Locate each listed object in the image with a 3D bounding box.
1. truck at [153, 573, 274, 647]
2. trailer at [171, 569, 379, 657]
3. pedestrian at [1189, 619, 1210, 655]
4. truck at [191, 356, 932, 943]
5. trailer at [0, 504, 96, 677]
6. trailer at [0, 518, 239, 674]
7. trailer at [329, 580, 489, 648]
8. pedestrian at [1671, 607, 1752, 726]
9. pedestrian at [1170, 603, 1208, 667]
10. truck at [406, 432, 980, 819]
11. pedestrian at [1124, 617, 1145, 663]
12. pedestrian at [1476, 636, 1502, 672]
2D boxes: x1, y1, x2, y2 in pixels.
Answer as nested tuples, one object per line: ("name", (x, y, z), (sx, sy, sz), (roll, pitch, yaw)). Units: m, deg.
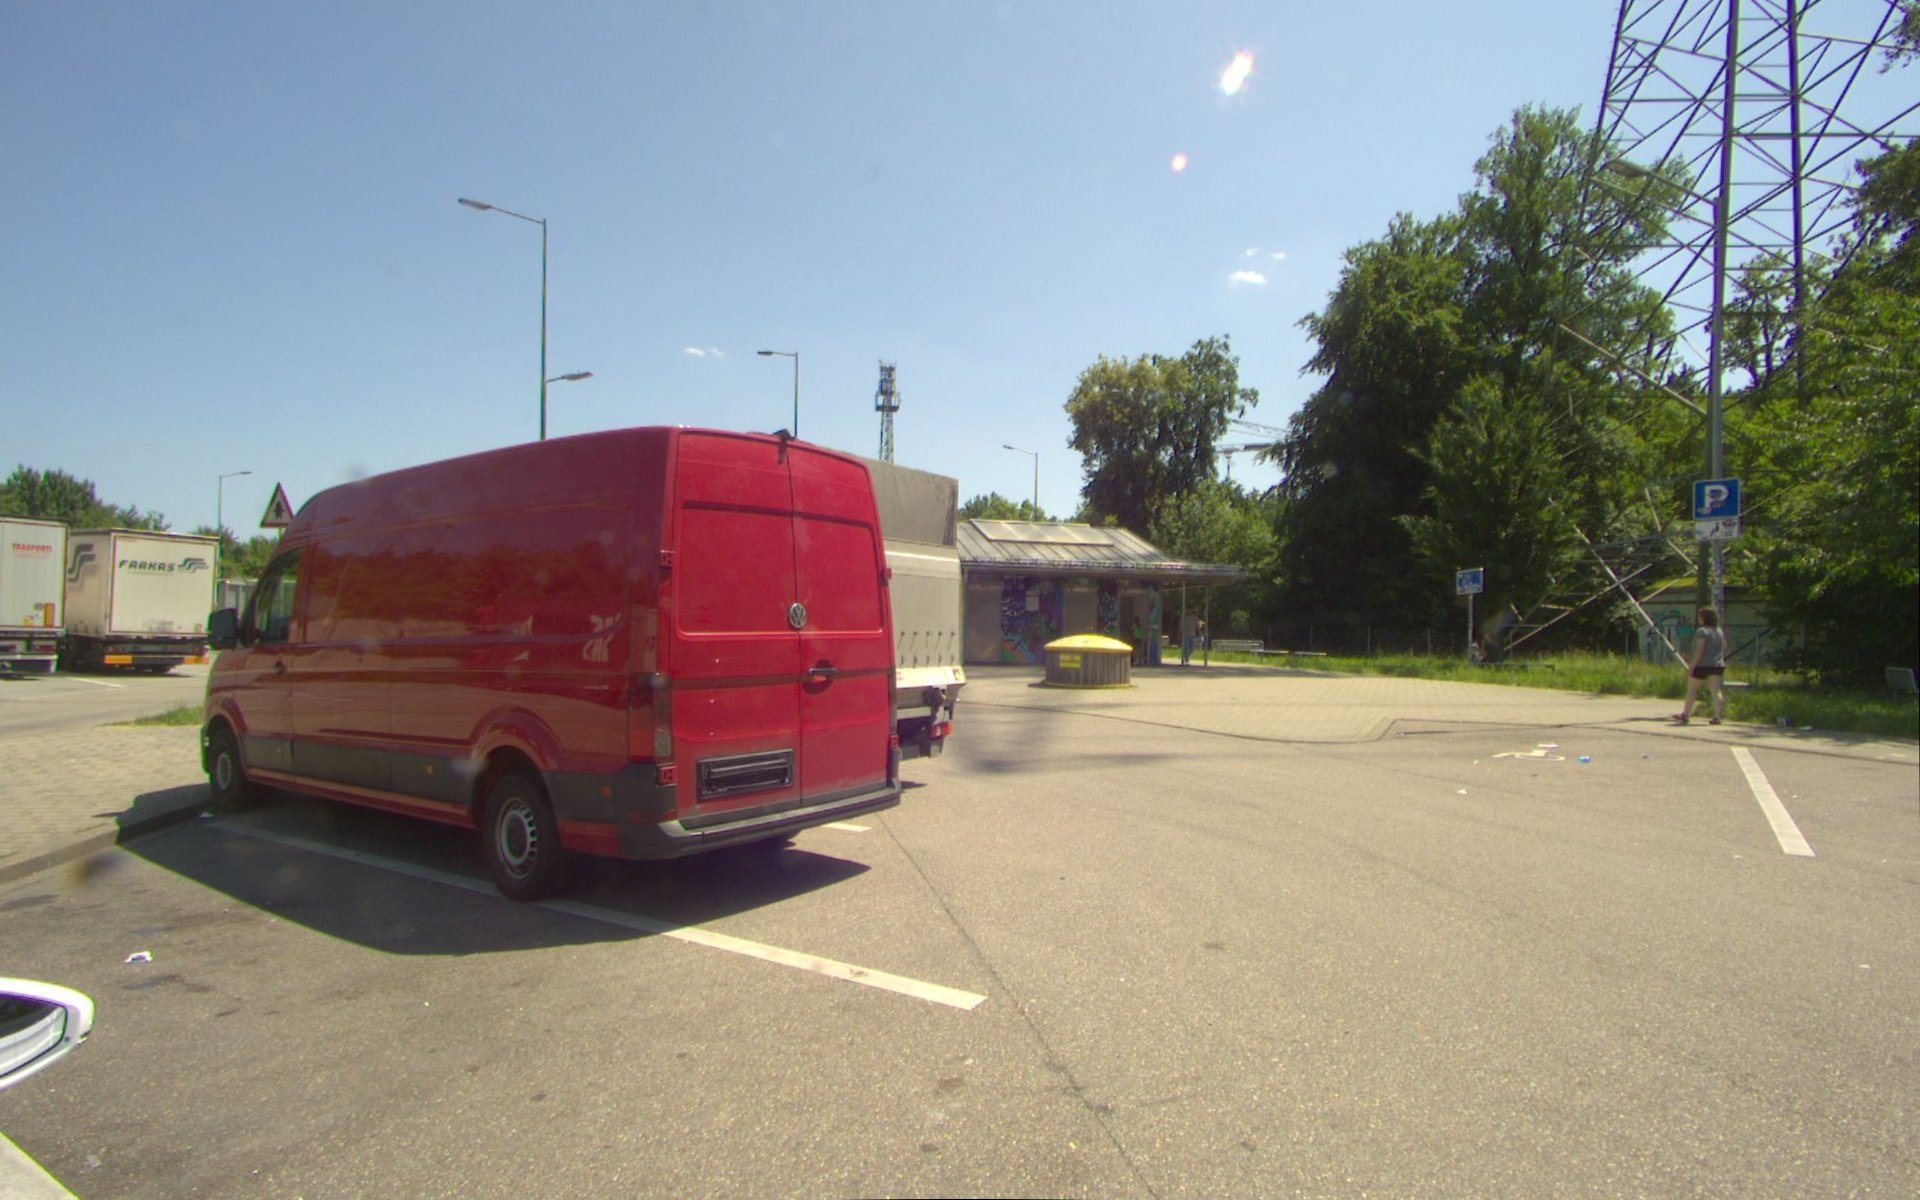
("truck", (-37.522, 0.486, 50.297), (5.887, 3.406, 2.862), (1, -2, 32))
("trailer", (-32.450, 0.494, 47.073), (13.561, 3.646, 2.854), (1, -2, 32))
("pedestrian", (11.047, 1.728, 46.218), (0.798, 1.639, 0.921), (0, -1, 7))
("truck", (-3.313, 0.303, 7.310), (6.372, 2.685, 2.005), (-1, -2, 37))
("trailer", (-28.662, -0.333, 27.996), (13.561, 4.162, 2.854), (1, -2, 32))
("trailer", (-27.589, -0.161, 31.583), (13.561, 4.162, 2.854), (1, -2, 32))
("trailer", (-36.143, 0.856, 65.313), (13.561, 3.955, 2.854), (1, -2, 32))
("pedestrian", (10.847, 0.952, 14.475), (0.674, 1.670, 0.715), (0, -1, 13))
("pedestrian", (7.083, 1.087, 30.943), (0.799, 1.929, 0.920), (0, -1, -15))
("truck", (-3.062, 0.274, 10.494), (6.372, 2.944, 2.411), (-1, -2, 37))
("pedestrian", (5.338, 1.219, 30.722), (0.532, 1.392, 0.583), (0, -1, 0))
("pedestrian", (14.669, 1.489, 27.789), (0.439, 0.987, 0.460), (0, -1, -19))
